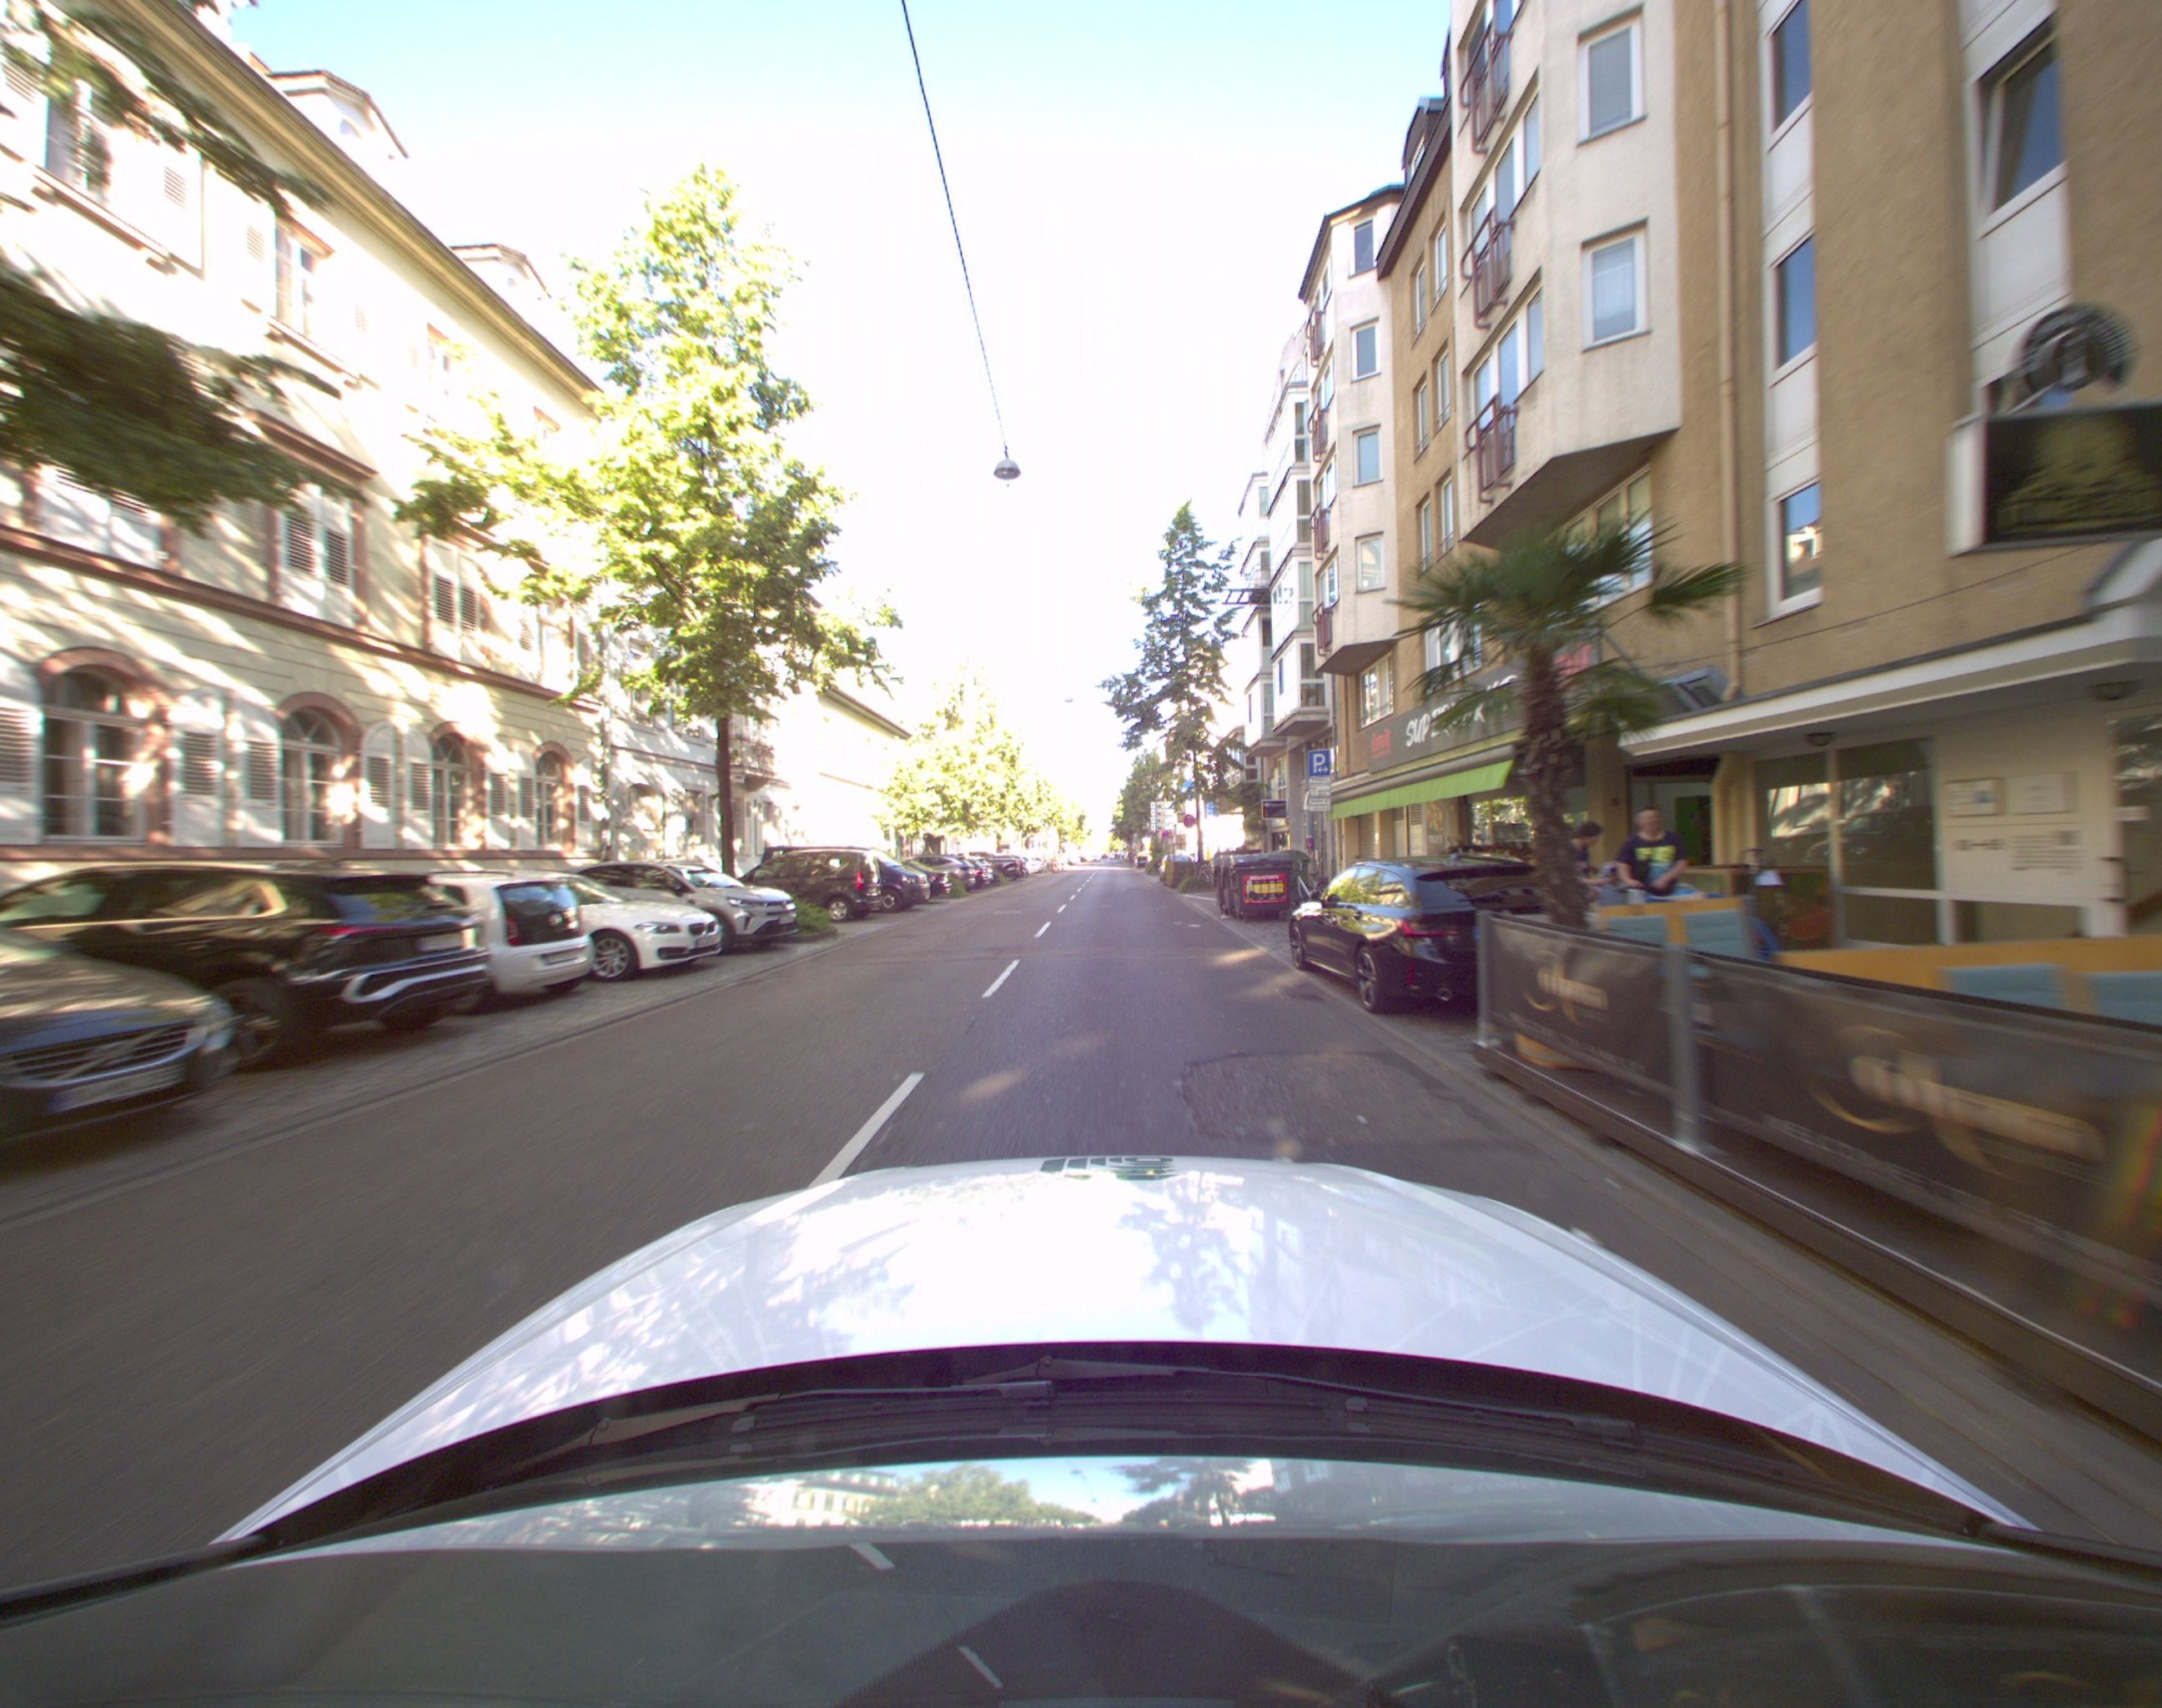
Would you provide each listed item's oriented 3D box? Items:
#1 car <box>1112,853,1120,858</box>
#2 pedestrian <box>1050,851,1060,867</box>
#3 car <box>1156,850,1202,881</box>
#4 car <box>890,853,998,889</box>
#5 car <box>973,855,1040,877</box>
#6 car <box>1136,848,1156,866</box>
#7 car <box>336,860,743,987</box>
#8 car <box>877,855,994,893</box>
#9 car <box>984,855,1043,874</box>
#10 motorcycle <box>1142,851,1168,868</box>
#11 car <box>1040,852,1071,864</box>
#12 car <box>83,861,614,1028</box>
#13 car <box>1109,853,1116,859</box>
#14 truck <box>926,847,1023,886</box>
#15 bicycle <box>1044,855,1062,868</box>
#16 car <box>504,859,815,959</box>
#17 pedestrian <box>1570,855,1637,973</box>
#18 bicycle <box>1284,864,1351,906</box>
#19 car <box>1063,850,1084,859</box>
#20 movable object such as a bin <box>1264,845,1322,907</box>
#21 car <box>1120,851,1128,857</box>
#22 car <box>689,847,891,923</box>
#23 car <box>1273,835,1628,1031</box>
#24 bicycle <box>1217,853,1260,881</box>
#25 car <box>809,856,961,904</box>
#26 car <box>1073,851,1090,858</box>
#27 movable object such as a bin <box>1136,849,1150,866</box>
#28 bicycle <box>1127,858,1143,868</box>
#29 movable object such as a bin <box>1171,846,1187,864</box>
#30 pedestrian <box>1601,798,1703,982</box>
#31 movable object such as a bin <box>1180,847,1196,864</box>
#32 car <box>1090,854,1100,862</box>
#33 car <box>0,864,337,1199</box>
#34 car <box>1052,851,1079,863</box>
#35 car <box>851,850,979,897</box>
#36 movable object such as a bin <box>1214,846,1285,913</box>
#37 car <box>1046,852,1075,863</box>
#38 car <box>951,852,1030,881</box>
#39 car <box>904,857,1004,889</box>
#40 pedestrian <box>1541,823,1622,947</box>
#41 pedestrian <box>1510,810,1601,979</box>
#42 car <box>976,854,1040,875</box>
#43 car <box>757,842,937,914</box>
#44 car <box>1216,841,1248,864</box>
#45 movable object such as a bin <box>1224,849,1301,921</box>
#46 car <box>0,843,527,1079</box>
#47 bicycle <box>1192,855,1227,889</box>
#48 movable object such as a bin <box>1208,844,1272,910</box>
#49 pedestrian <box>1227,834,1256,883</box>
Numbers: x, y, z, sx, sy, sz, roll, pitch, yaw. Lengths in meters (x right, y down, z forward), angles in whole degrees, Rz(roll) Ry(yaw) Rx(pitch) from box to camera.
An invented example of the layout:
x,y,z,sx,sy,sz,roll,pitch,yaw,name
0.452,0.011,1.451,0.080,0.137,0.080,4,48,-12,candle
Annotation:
x,y,z,sx,sy,sz,roll,pitch,yaw,name
9.141,0.377,213.944,1.816,1.391,4.302,-4,0,1,car
-2.692,0.534,85.215,0.797,1.707,0.759,-1,0,-31,pedestrian
5.025,0.551,42.415,1.894,1.412,4.649,-4,0,2,car
-6.414,0.783,38.415,4.660,1.572,1.810,-1,0,3,car
-5.333,0.841,58.987,4.667,1.465,1.807,-1,0,-2,car
6.559,0.259,82.525,1.815,1.679,4.603,-4,0,2,car
-7.440,0.913,11.545,4.450,1.541,1.917,-1,0,1,car
-6.278,0.841,35.403,4.660,1.519,1.810,-1,0,3,car
-5.540,0.824,66.804,4.667,1.412,1.807,-1,0,-2,car
6.158,0.432,67.871,1.978,1.330,0.908,-2,0,-11,motorcycle
-3.454,0.534,110.730,3.973,1.390,2.000,-2,0,0,car
-7.936,0.925,9.133,4.323,1.582,1.810,-1,0,1,car
8.457,0.484,220.475,1.785,1.411,4.002,-2,0,2,car
-5.941,0.703,45.732,5.066,1.938,2.001,-2,0,1,truck
-2.926,0.780,84.544,1.852,1.252,0.599,-1,0,-6,bicycle
-7.245,0.912,14.270,4.444,1.541,1.919,-1,0,5,car
5.416,0.602,8.444,0.504,1.163,0.439,-2,0,-44,pedestrian
5.335,0.700,18.482,0.570,0.872,1.630,-2,-1,-20,bicycle
-1.490,0.120,162.960,3.973,1.500,2.000,-2,0,0,car
5.183,0.512,19.962,1.073,1.431,1.296,-2,0,2,movable object such as a bin
11.380,0.093,215.397,1.986,1.508,4.001,-1,-1,1,car
-7.385,0.767,20.947,4.447,1.772,1.918,-1,0,3,car
3.606,0.642,9.134,1.815,1.472,4.914,-4,0,2,car
6.549,0.549,33.965,0.686,1.148,1.665,-2,0,-40,bicycle
-6.488,0.857,27.261,4.628,1.459,1.684,-1,0,1,car
0.044,0.215,197.147,3.973,1.500,2.000,-2,0,0,car
5.923,0.334,78.221,1.135,1.562,1.463,-2,0,10,movable object such as a bin
6.662,1.111,100.196,1.967,1.059,0.759,-2,0,-45,bicycle
9.079,0.121,75.571,1.201,1.627,1.498,-2,0,0,movable object such as a bin
5.527,0.330,7.892,0.506,1.695,0.623,-2,0,-35,pedestrian
9.734,0.150,74.186,1.266,1.530,1.176,-2,0,0,movable object such as a bin
2.759,0.786,158.191,1.796,1.435,4.410,-4,0,1,car
-7.221,0.886,4.555,4.446,1.541,1.918,-1,0,4,car
-2.394,0.454,129.418,3.966,1.694,2.004,-2,0,6,car
-6.581,0.758,32.613,4.660,1.712,1.810,-1,0,3,car
3.886,0.580,18.858,1.393,1.454,1.146,-2,0,2,movable object such as a bin
-2.914,0.441,116.508,3.973,1.390,2.000,-2,0,0,car
-5.632,0.771,51.029,4.660,1.693,1.810,-1,0,3,car
-6.337,0.931,40.910,4.660,1.463,1.810,-1,0,3,car
6.988,0.419,11.395,0.614,1.642,0.762,-2,0,1,pedestrian
4.974,0.410,8.580,0.611,1.695,0.765,-2,0,17,pedestrian
-5.457,0.796,61.704,4.667,1.465,1.807,-1,0,-2,car
-6.778,0.681,23.919,4.660,1.950,1.918,-1,0,3,car
11.708,-0.151,63.264,1.893,1.648,4.297,-2,0,3,car
3.915,0.647,17.693,1.393,1.454,1.146,-2,0,2,movable object such as a bin
-7.633,0.819,7.055,4.323,1.709,1.917,-1,0,1,car
4.744,0.642,30.216,0.607,1.120,2.051,-9,1,-7,bicycle
3.881,0.543,20.023,1.325,1.542,1.146,-2,0,2,movable object such as a bin
6.563,0.171,33.212,0.916,1.935,0.765,-2,0,27,pedestrian
